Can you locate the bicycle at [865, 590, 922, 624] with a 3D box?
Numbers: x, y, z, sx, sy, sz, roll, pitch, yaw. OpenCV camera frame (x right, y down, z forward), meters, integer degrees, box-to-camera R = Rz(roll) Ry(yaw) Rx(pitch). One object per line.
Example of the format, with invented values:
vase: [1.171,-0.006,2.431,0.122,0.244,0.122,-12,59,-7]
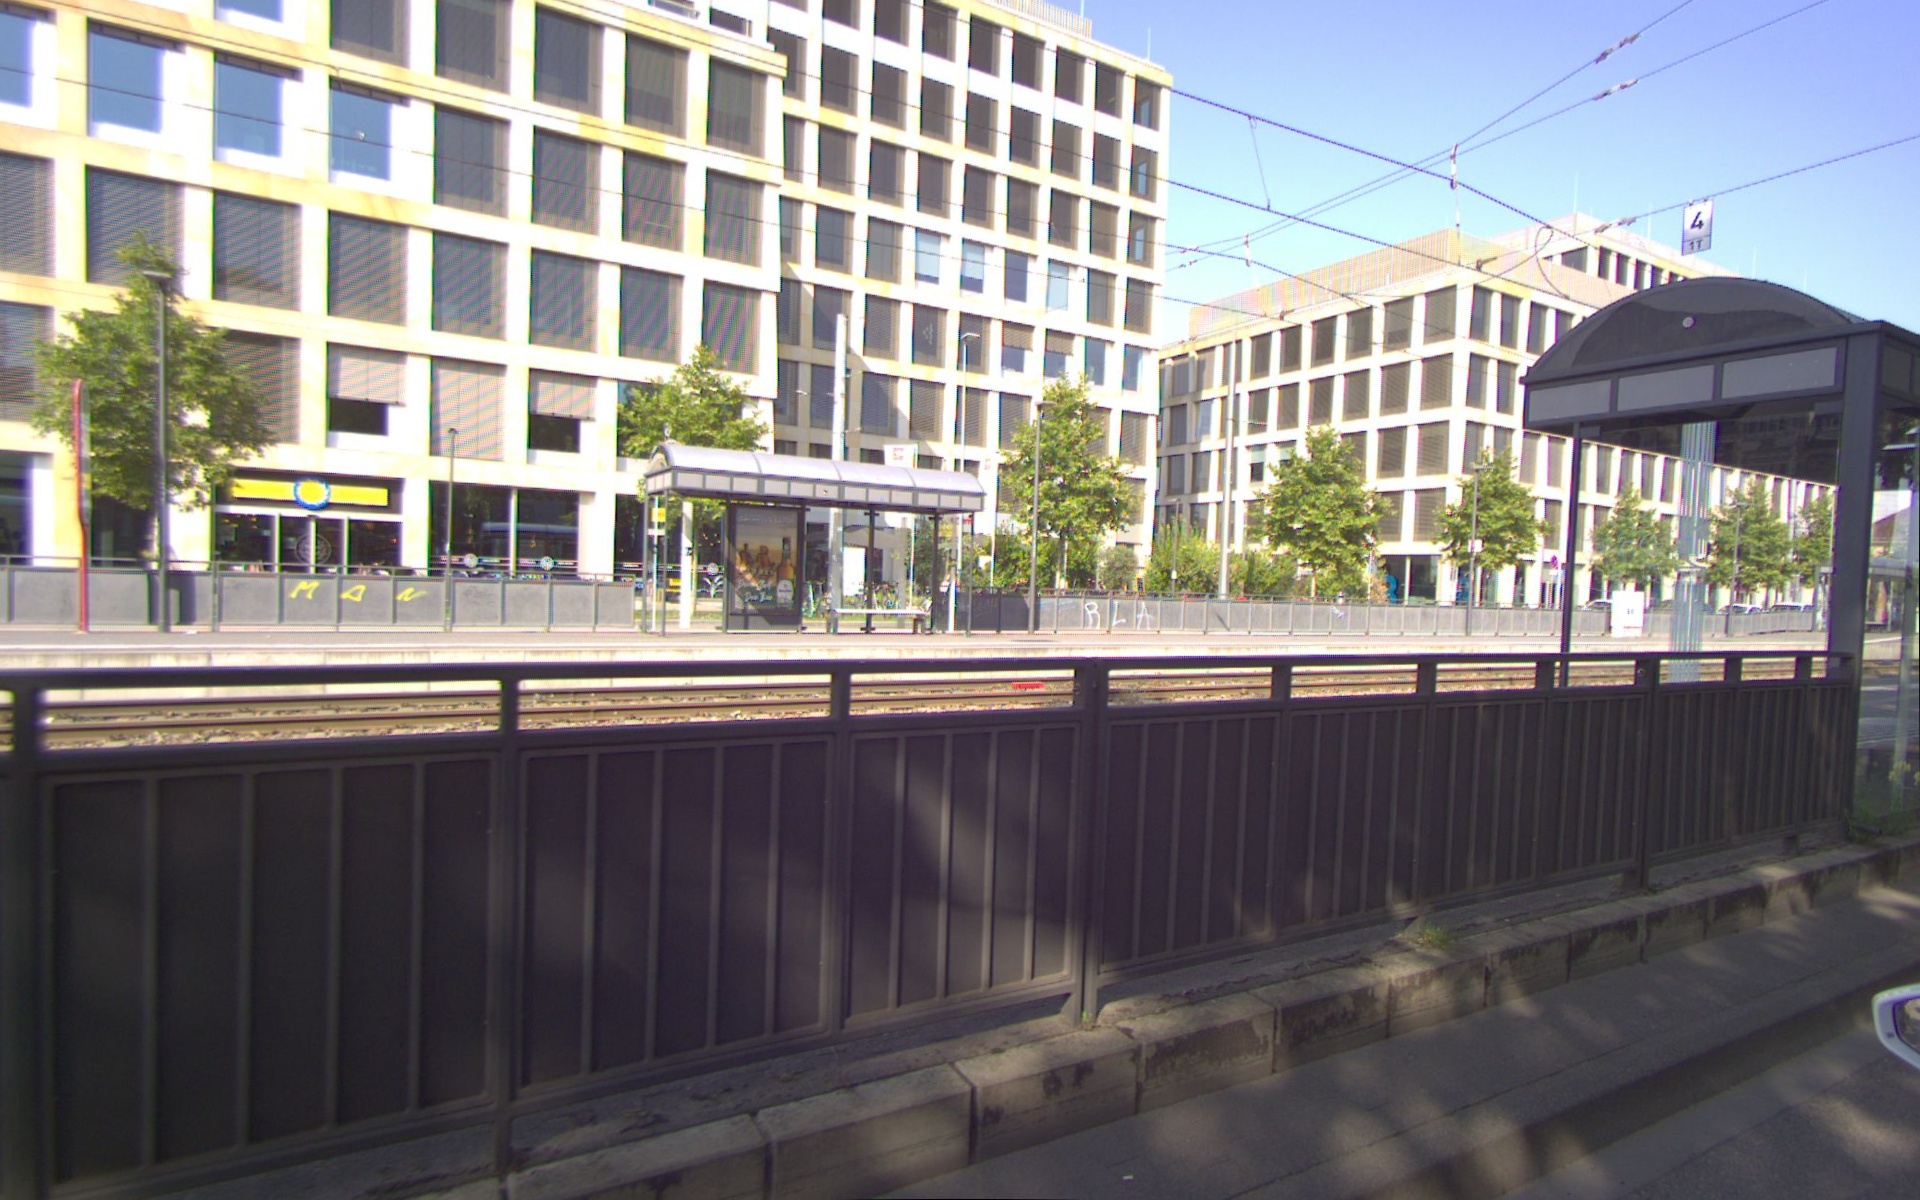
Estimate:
bicycle: [-2.140,0.208,32.039,0.812,0.999,2.421,1,1,-30]

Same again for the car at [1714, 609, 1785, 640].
car: [43.438,1.352,55.275,4.173,1.571,1.634,1,1,-30]

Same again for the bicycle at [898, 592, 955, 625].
bicycle: [-1.138,0.281,33.240,0.812,0.999,2.421,1,1,-30]

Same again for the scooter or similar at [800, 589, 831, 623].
scooter or similar: [-4.458,0.171,30.878,0.390,0.999,1.514,1,1,-30]

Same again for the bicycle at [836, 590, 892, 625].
bicycle: [-3.036,0.233,31.480,0.812,0.999,2.421,1,1,-30]

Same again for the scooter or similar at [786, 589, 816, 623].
scooter or similar: [-4.831,0.175,30.507,0.367,0.999,1.493,1,1,-31]
